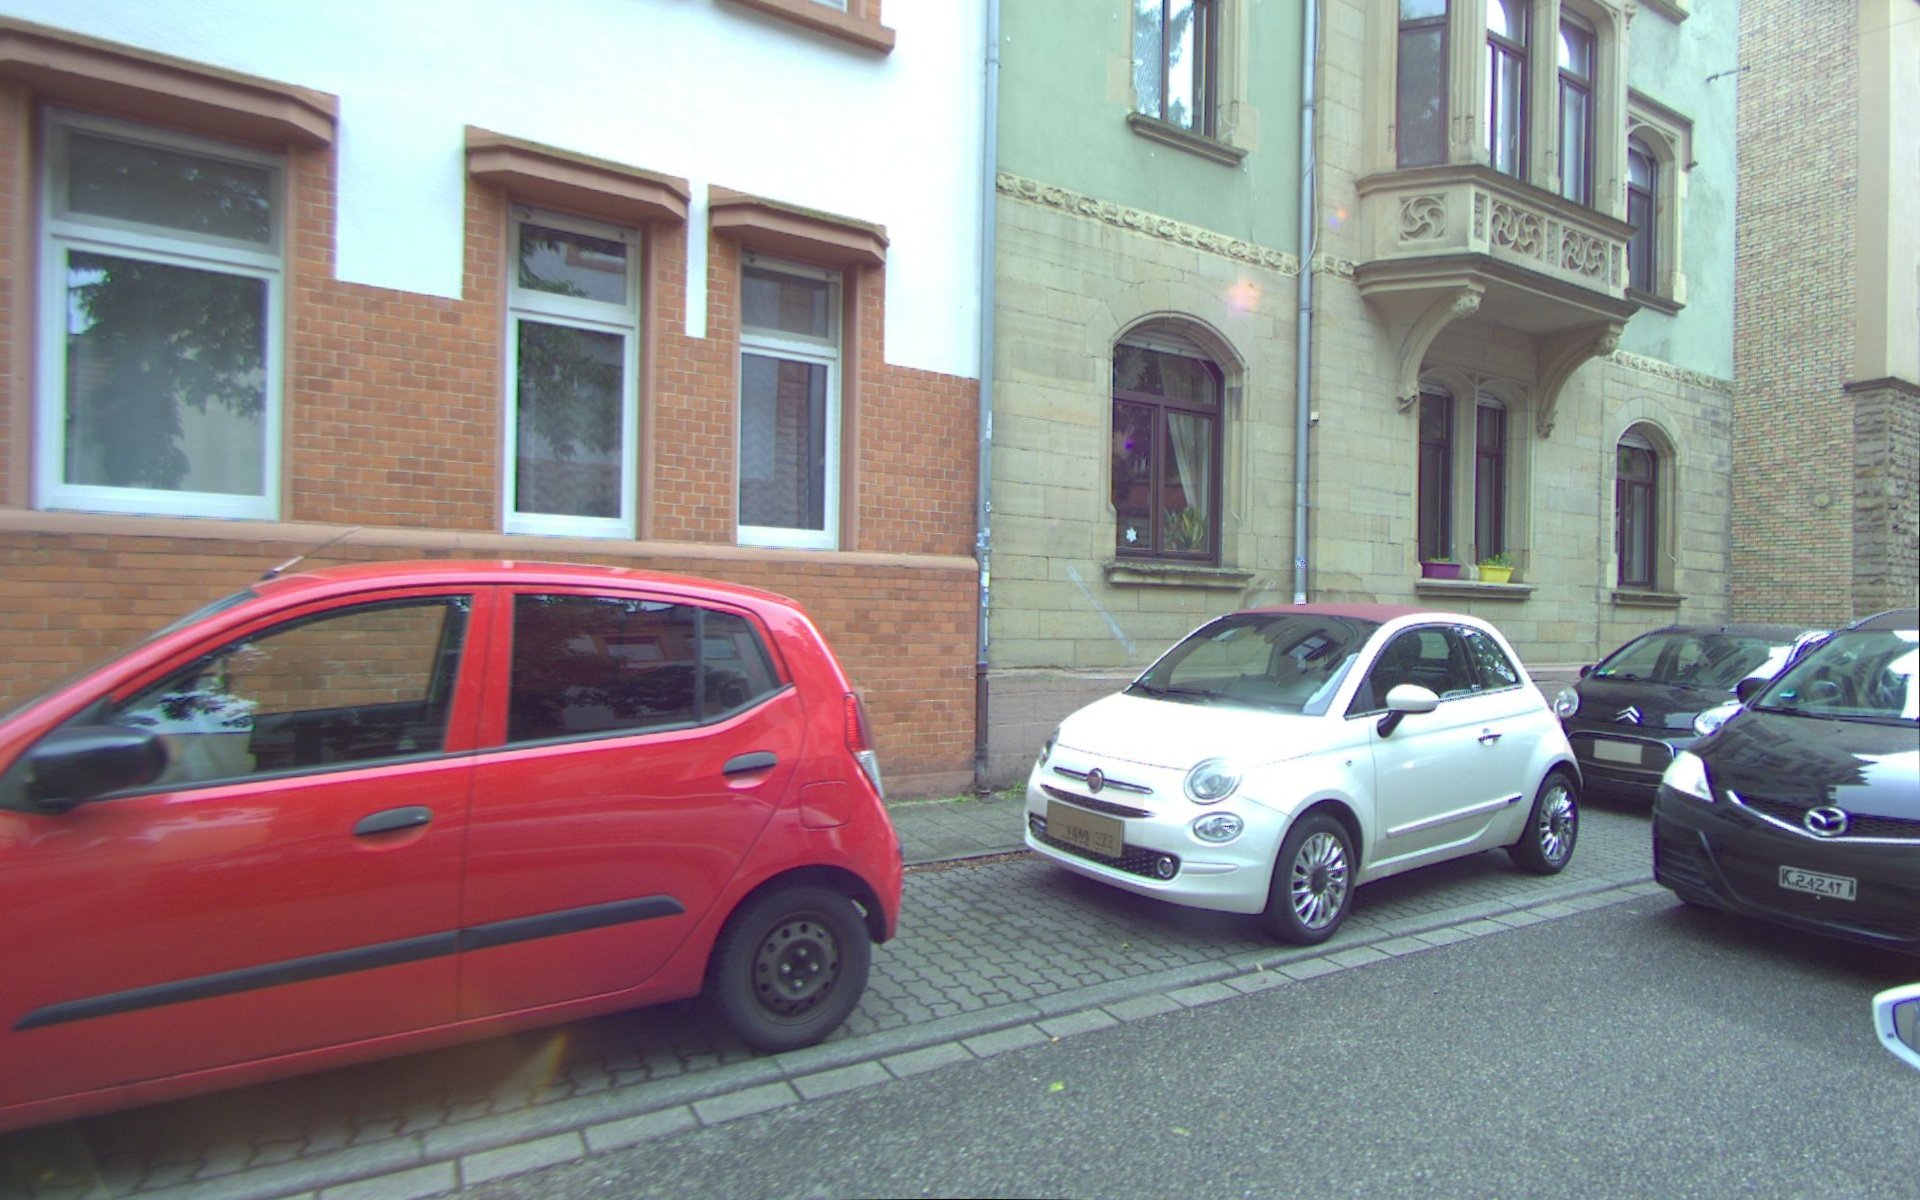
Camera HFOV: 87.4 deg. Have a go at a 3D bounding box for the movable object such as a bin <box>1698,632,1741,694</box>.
[{"bbox_3d":[13.647,1.125,18.057,0.545,1.077,0.437,1,-1,-30],"label":"movable object such as a bin"}]

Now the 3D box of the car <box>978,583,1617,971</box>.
[{"bbox_3d":[2.007,0.727,5.670,3.518,1.531,1.655,1,0,-35],"label":"car"}]

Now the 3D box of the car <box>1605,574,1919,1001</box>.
[{"bbox_3d":[5.410,0.786,5.158,4.157,1.651,1.801,2,-1,-29],"label":"car"}]

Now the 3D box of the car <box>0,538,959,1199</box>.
[{"bbox_3d":[-1.894,0.636,3.146,3.526,1.551,1.458,1,1,-30],"label":"car"}]

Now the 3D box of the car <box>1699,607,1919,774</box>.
[{"bbox_3d":[9.626,0.840,10.649,3.767,1.453,1.581,1,1,-32],"label":"car"}]

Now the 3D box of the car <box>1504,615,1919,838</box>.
[{"bbox_3d":[6.232,0.884,8.279,3.415,1.453,1.509,1,1,-30],"label":"car"}]
